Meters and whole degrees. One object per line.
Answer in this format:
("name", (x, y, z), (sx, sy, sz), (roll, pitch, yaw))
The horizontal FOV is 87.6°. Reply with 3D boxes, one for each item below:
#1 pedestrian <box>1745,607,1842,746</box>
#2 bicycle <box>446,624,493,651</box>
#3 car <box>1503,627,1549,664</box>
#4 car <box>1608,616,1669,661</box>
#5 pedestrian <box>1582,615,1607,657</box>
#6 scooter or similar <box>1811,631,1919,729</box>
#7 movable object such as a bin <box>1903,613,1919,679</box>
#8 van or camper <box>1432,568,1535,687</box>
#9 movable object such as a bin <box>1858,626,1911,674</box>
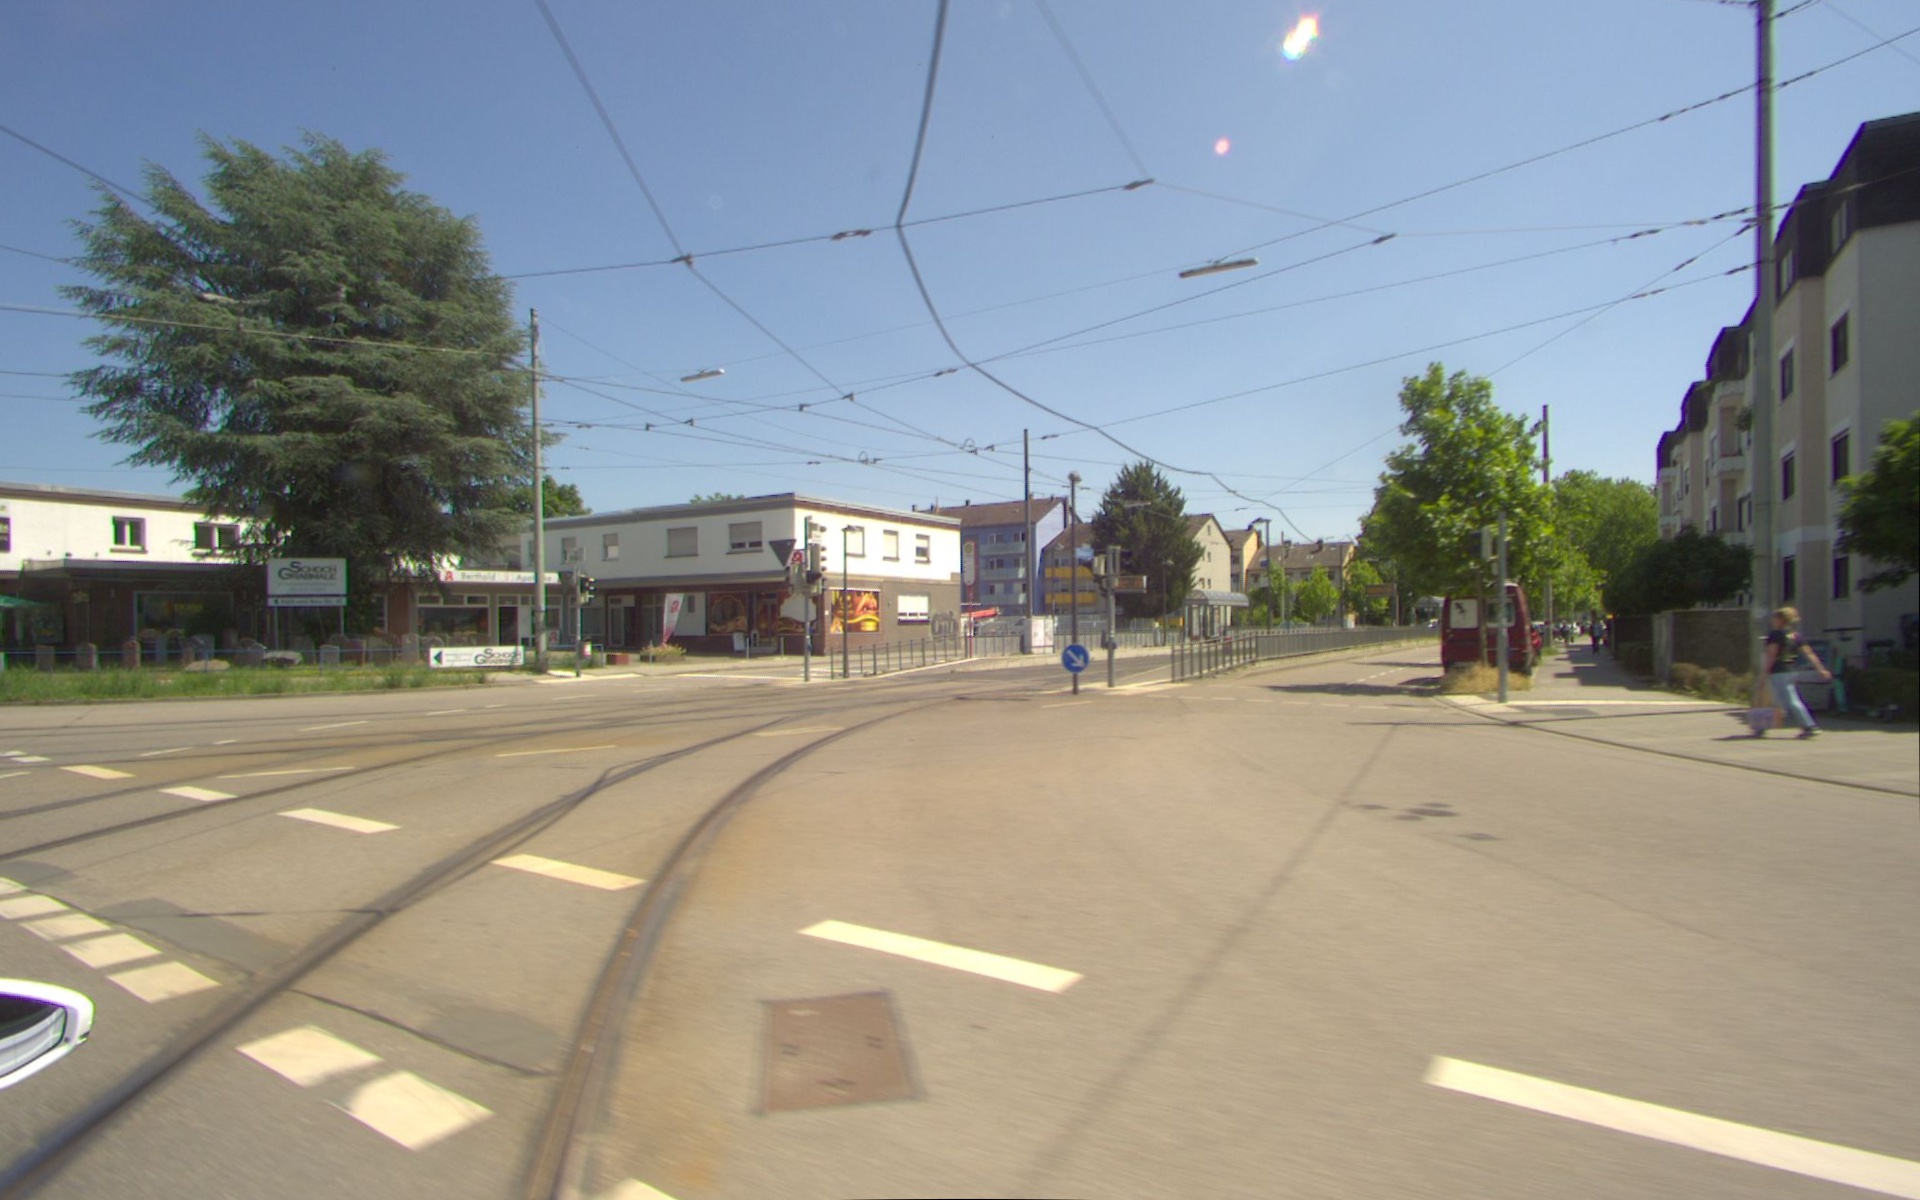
("pedestrian", (10.119, 0.900, 12.159), (0.821, 1.604, 0.818), (1, -1, -45))
("bicycle", (-23.179, 1.783, 47.345), (0.592, 1.207, 1.862), (-2, -4, 43))
("car", (22.640, 1.783, 39.997), (1.431, 1.399, 3.346), (-1, -2, 32))
("car", (25.686, 1.442, 37.996), (1.629, 1.630, 3.636), (-1, -2, 30))
("pedestrian", (28.432, 1.599, 44.864), (0.913, 1.854, 1.071), (-1, -1, 31))
("scooter or similar", (11.943, 1.030, 13.240), (0.387, 1.228, 1.256), (0, -1, 6))
("movable object such as a bin", (21.305, 0.989, 21.608), (1.177, 1.424, 1.055), (-1, -1, 31))
("van or camper", (13.952, 0.722, 26.494), (2.175, 2.801, 5.217), (0, -1, 30))
("movable object such as a bin", (20.539, 1.101, 22.265), (0.703, 1.060, 0.741), (-1, -1, 31))
